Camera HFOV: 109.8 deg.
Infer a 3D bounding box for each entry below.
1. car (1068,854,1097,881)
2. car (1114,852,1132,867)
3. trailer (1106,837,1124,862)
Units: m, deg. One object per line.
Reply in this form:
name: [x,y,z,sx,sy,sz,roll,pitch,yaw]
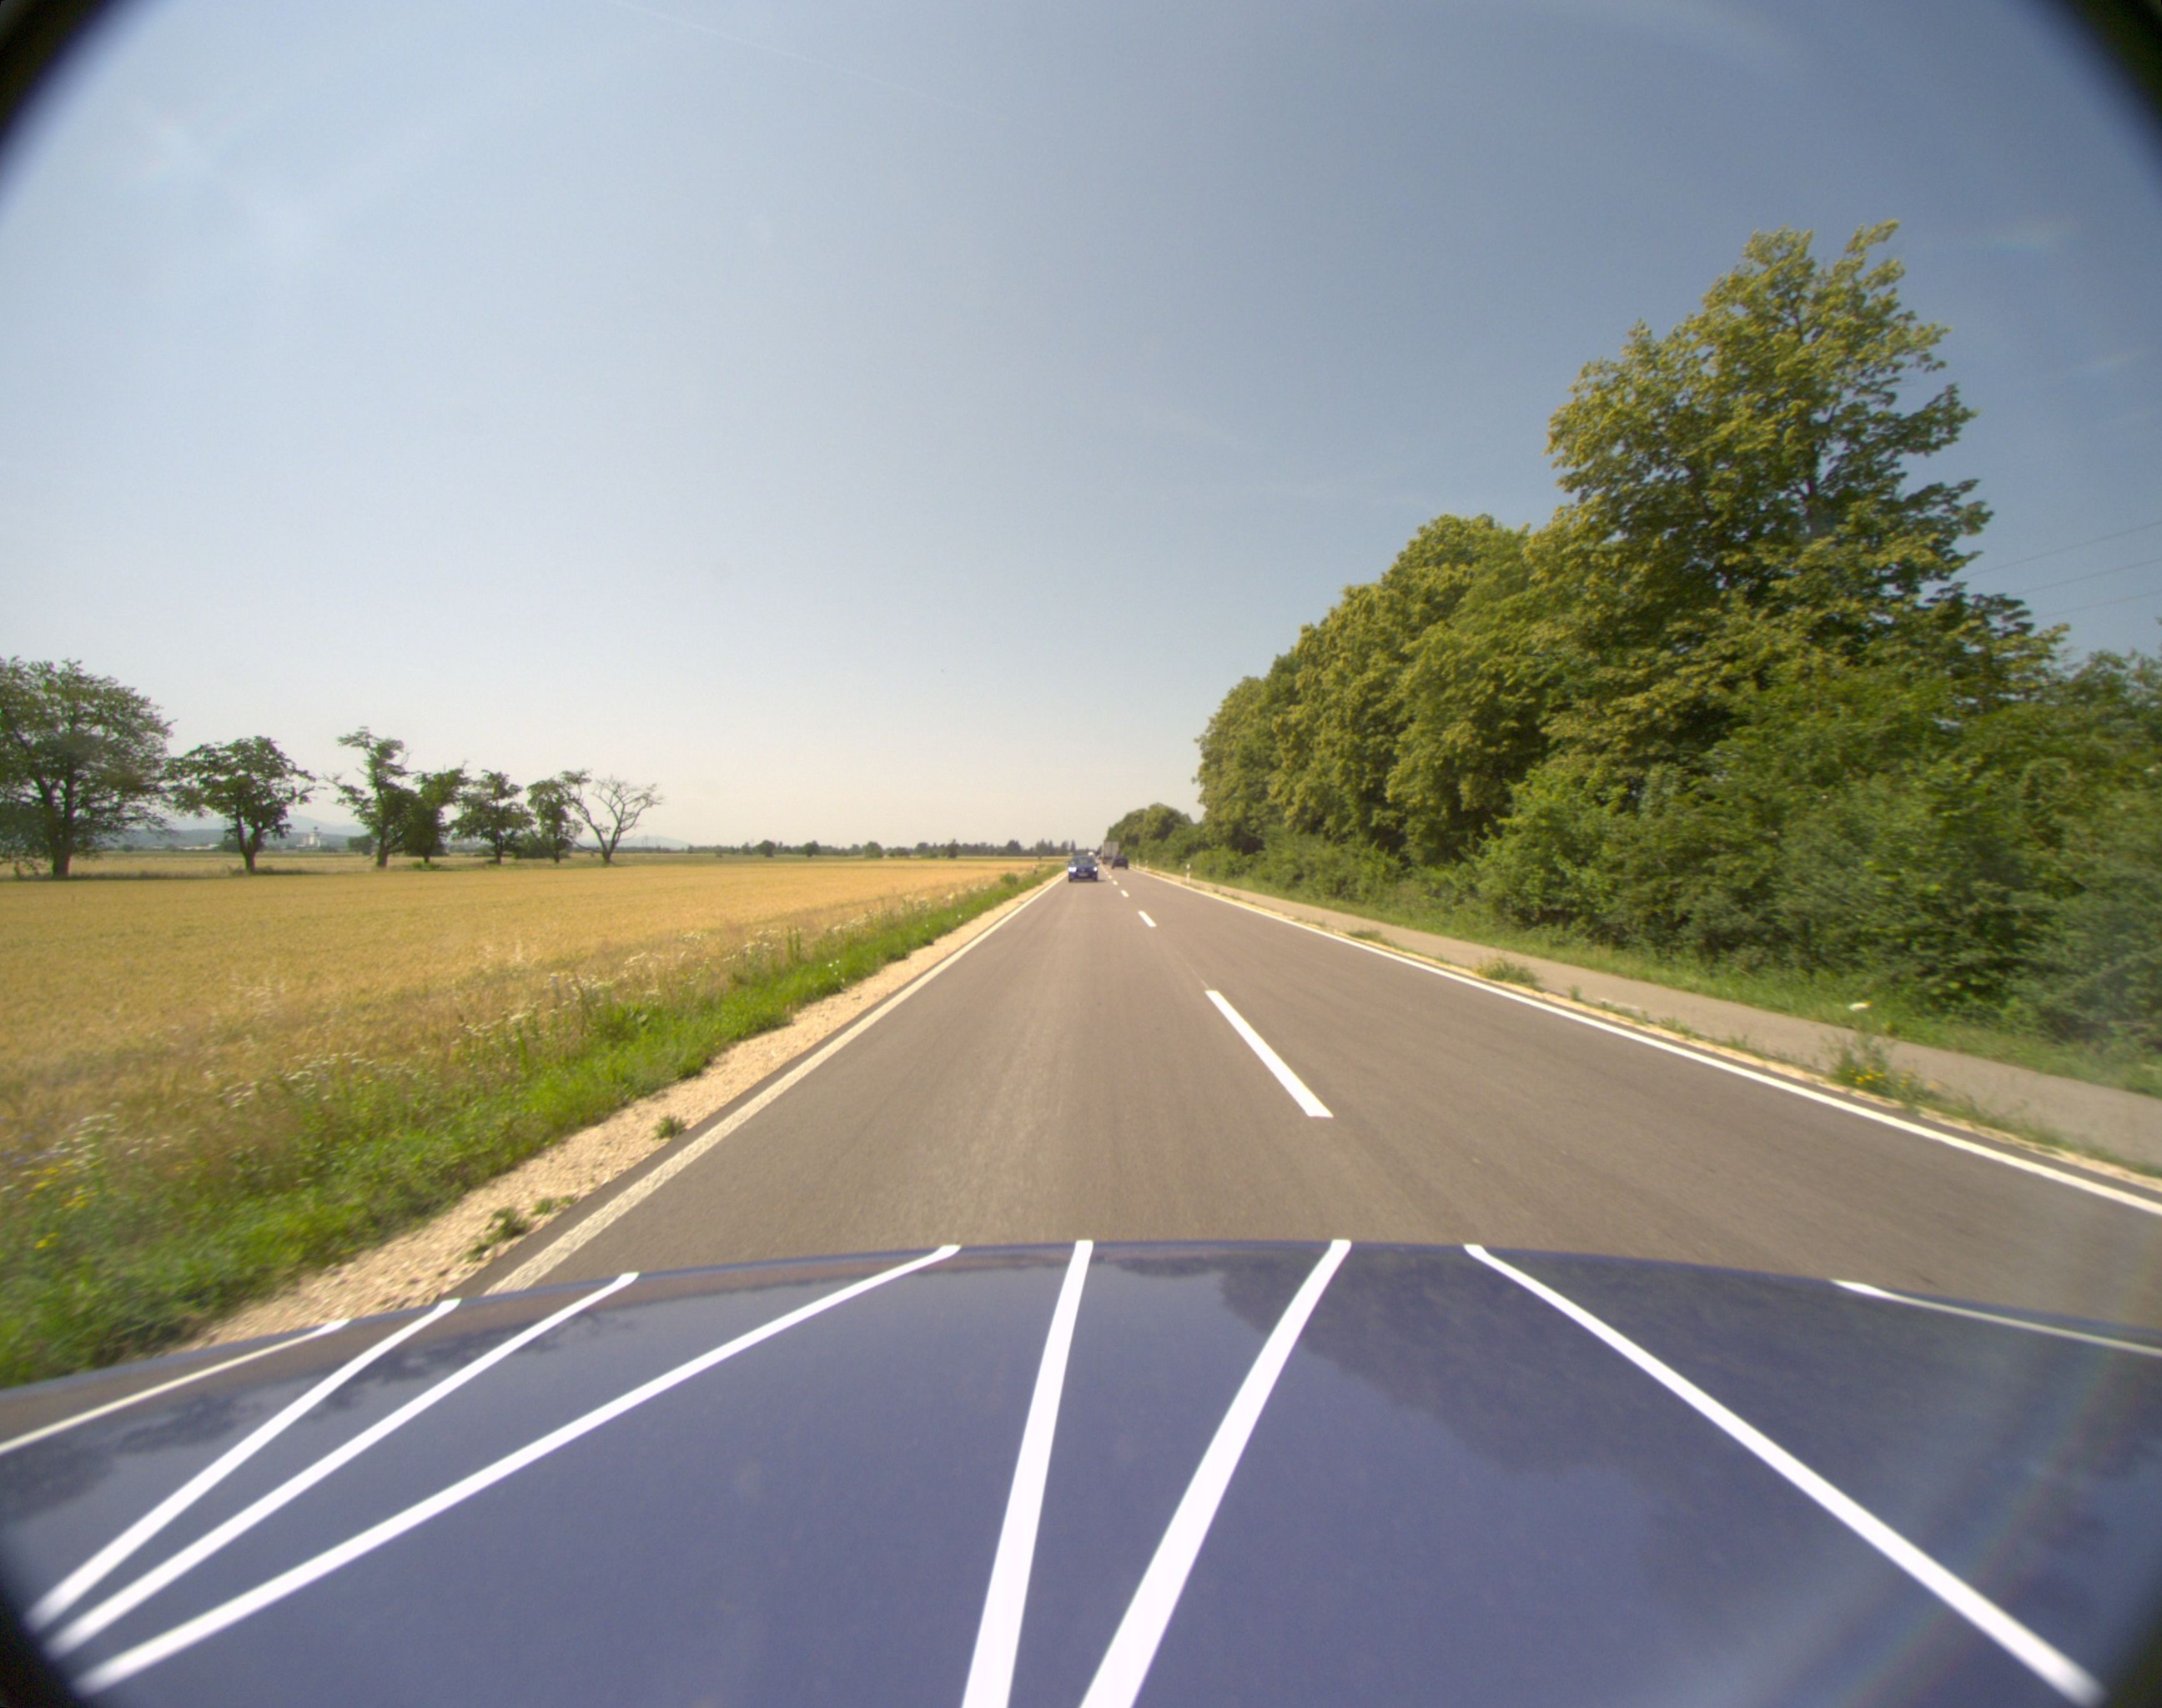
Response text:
car: [0.090,0.771,45.647,1.662,1.509,4.000,-1,0,0]
car: [4.756,0.599,86.960,1.796,1.565,4.479,1,0,1]
trailer: [5.803,-0.768,131.016,2.660,3.954,13.353,1,0,1]
